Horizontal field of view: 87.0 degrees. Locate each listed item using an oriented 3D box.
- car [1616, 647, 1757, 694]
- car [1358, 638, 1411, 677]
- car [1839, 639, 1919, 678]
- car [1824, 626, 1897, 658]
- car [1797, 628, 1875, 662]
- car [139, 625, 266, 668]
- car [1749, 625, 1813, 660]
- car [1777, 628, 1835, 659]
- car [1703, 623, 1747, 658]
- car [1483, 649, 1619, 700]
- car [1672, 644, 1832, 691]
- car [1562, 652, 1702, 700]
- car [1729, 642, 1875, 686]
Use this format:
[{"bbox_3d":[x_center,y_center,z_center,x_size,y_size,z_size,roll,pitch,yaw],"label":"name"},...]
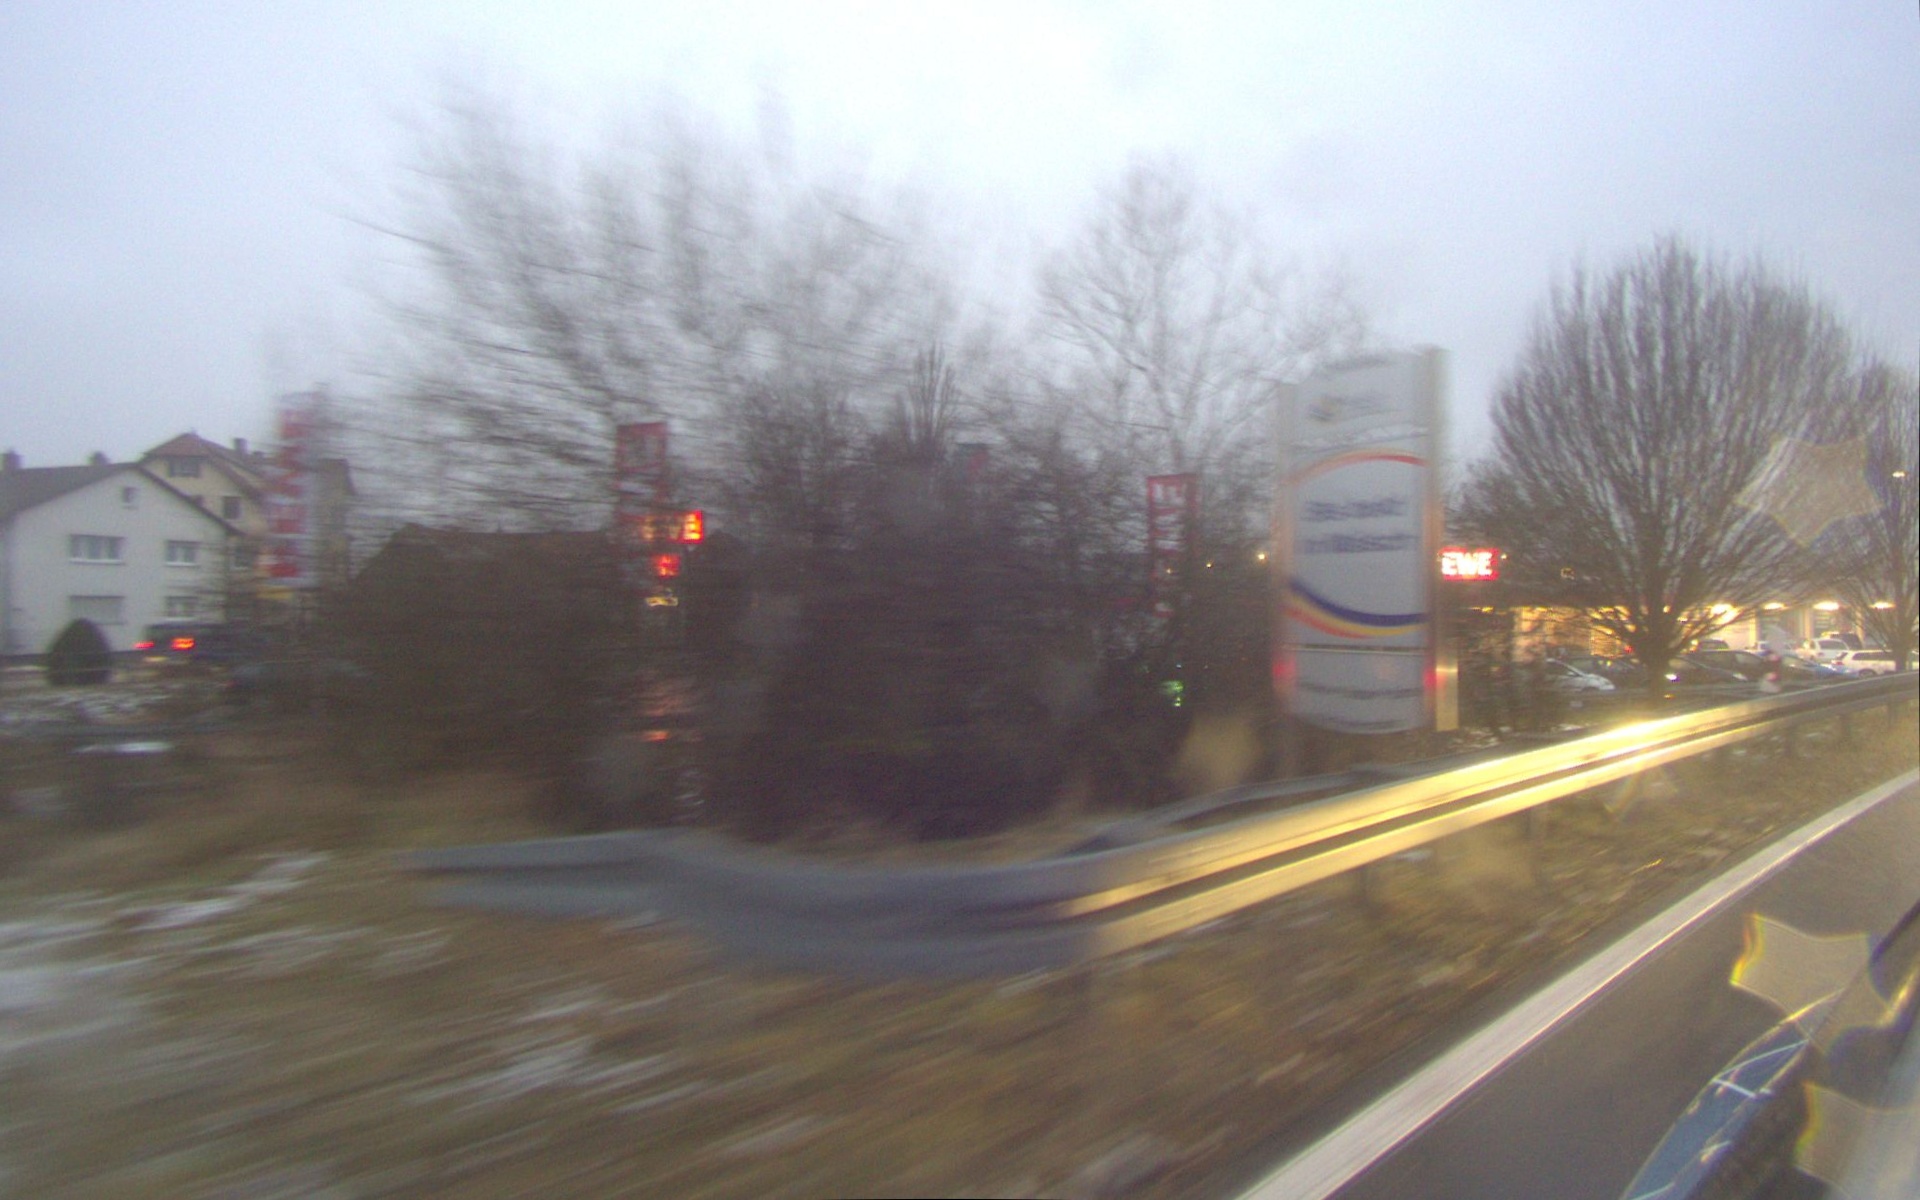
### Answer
[{"bbox_3d":[26.231,2.519,36.706,3.965,1.438,1.615,0,0,29],"label":"car"},{"bbox_3d":[18.701,2.483,44.558,1.557,1.448,3.717,0,0,33],"label":"car"},{"bbox_3d":[39.214,2.433,41.439,4.675,1.414,1.880,1,1,36],"label":"car"},{"bbox_3d":[51.167,2.354,57.604,1.779,1.615,3.953,0,0,20],"label":"car"},{"bbox_3d":[44.756,2.265,51.834,1.807,1.660,4.431,0,-1,25],"label":"car"},{"bbox_3d":[-29.849,1.810,40.015,1.888,1.511,3.696,-3,-2,12],"label":"car"},{"bbox_3d":[41.211,2.075,50.876,1.790,1.554,4.495,0,0,30],"label":"car"},{"bbox_3d":[47.512,2.397,56.929,1.712,1.520,3.986,0,0,28],"label":"car"},{"bbox_3d":[38.033,1.994,50.371,1.589,1.605,3.586,0,0,35],"label":"car"},{"bbox_3d":[20.223,2.532,34.809,3.964,1.457,1.779,0,0,29],"label":"car"},{"bbox_3d":[29.616,2.487,38.044,4.555,1.473,1.908,-1,0,34],"label":"car"},{"bbox_3d":[23.570,2.636,35.659,3.965,1.438,1.615,0,0,29],"label":"car"},{"bbox_3d":[32.750,2.443,39.517,4.150,1.414,1.882,0,1,33],"label":"car"}]
